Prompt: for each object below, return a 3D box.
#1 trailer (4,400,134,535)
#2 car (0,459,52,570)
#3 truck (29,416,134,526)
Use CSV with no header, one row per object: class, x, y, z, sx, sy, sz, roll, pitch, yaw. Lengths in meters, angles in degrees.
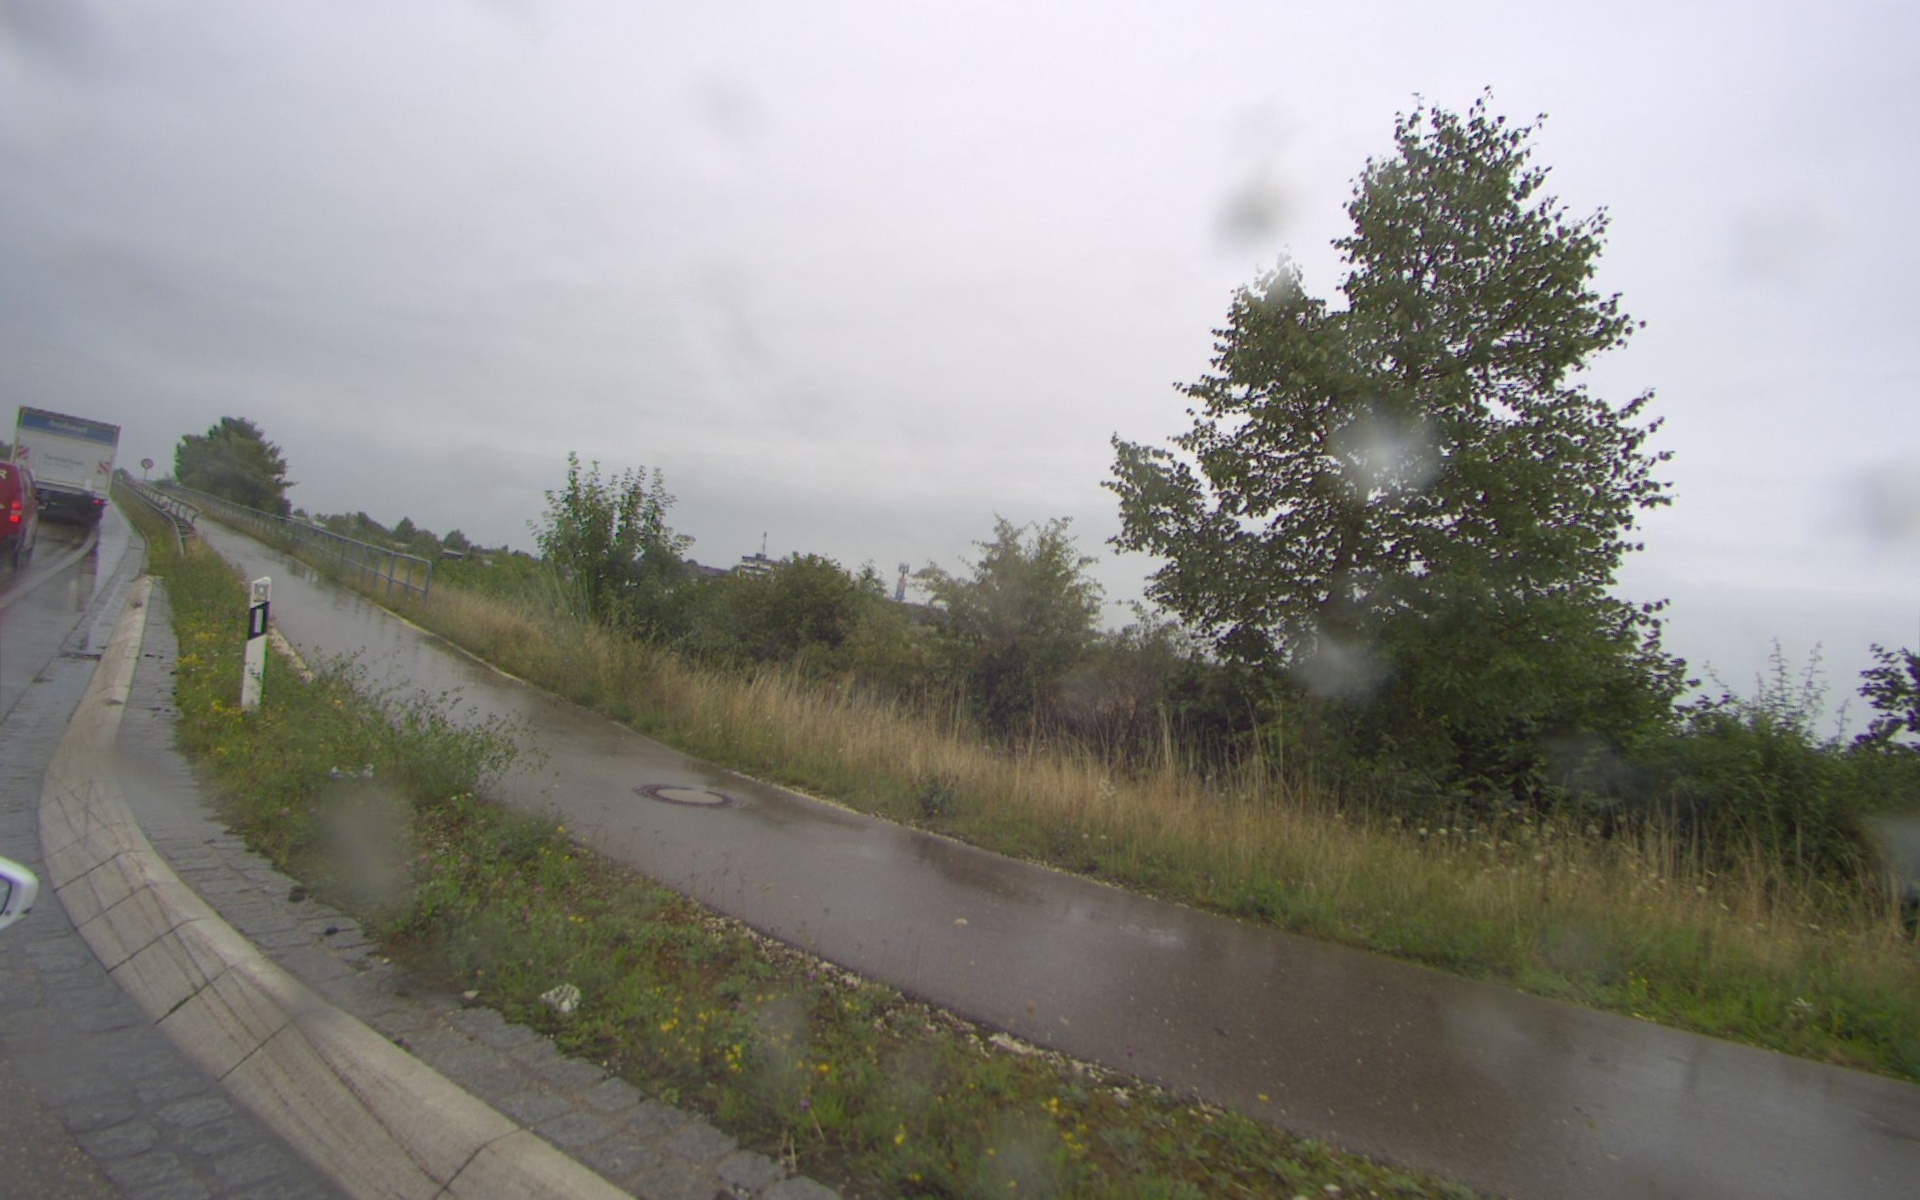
trailer,-32.256,-4.701,36.746,2.822,3.864,9.604,9,-1,-40
car,-18.999,-1.835,19.277,1.986,1.893,4.921,9,0,-40
truck,-37.674,-5.458,43.380,2.789,3.864,7.602,9,0,-40
